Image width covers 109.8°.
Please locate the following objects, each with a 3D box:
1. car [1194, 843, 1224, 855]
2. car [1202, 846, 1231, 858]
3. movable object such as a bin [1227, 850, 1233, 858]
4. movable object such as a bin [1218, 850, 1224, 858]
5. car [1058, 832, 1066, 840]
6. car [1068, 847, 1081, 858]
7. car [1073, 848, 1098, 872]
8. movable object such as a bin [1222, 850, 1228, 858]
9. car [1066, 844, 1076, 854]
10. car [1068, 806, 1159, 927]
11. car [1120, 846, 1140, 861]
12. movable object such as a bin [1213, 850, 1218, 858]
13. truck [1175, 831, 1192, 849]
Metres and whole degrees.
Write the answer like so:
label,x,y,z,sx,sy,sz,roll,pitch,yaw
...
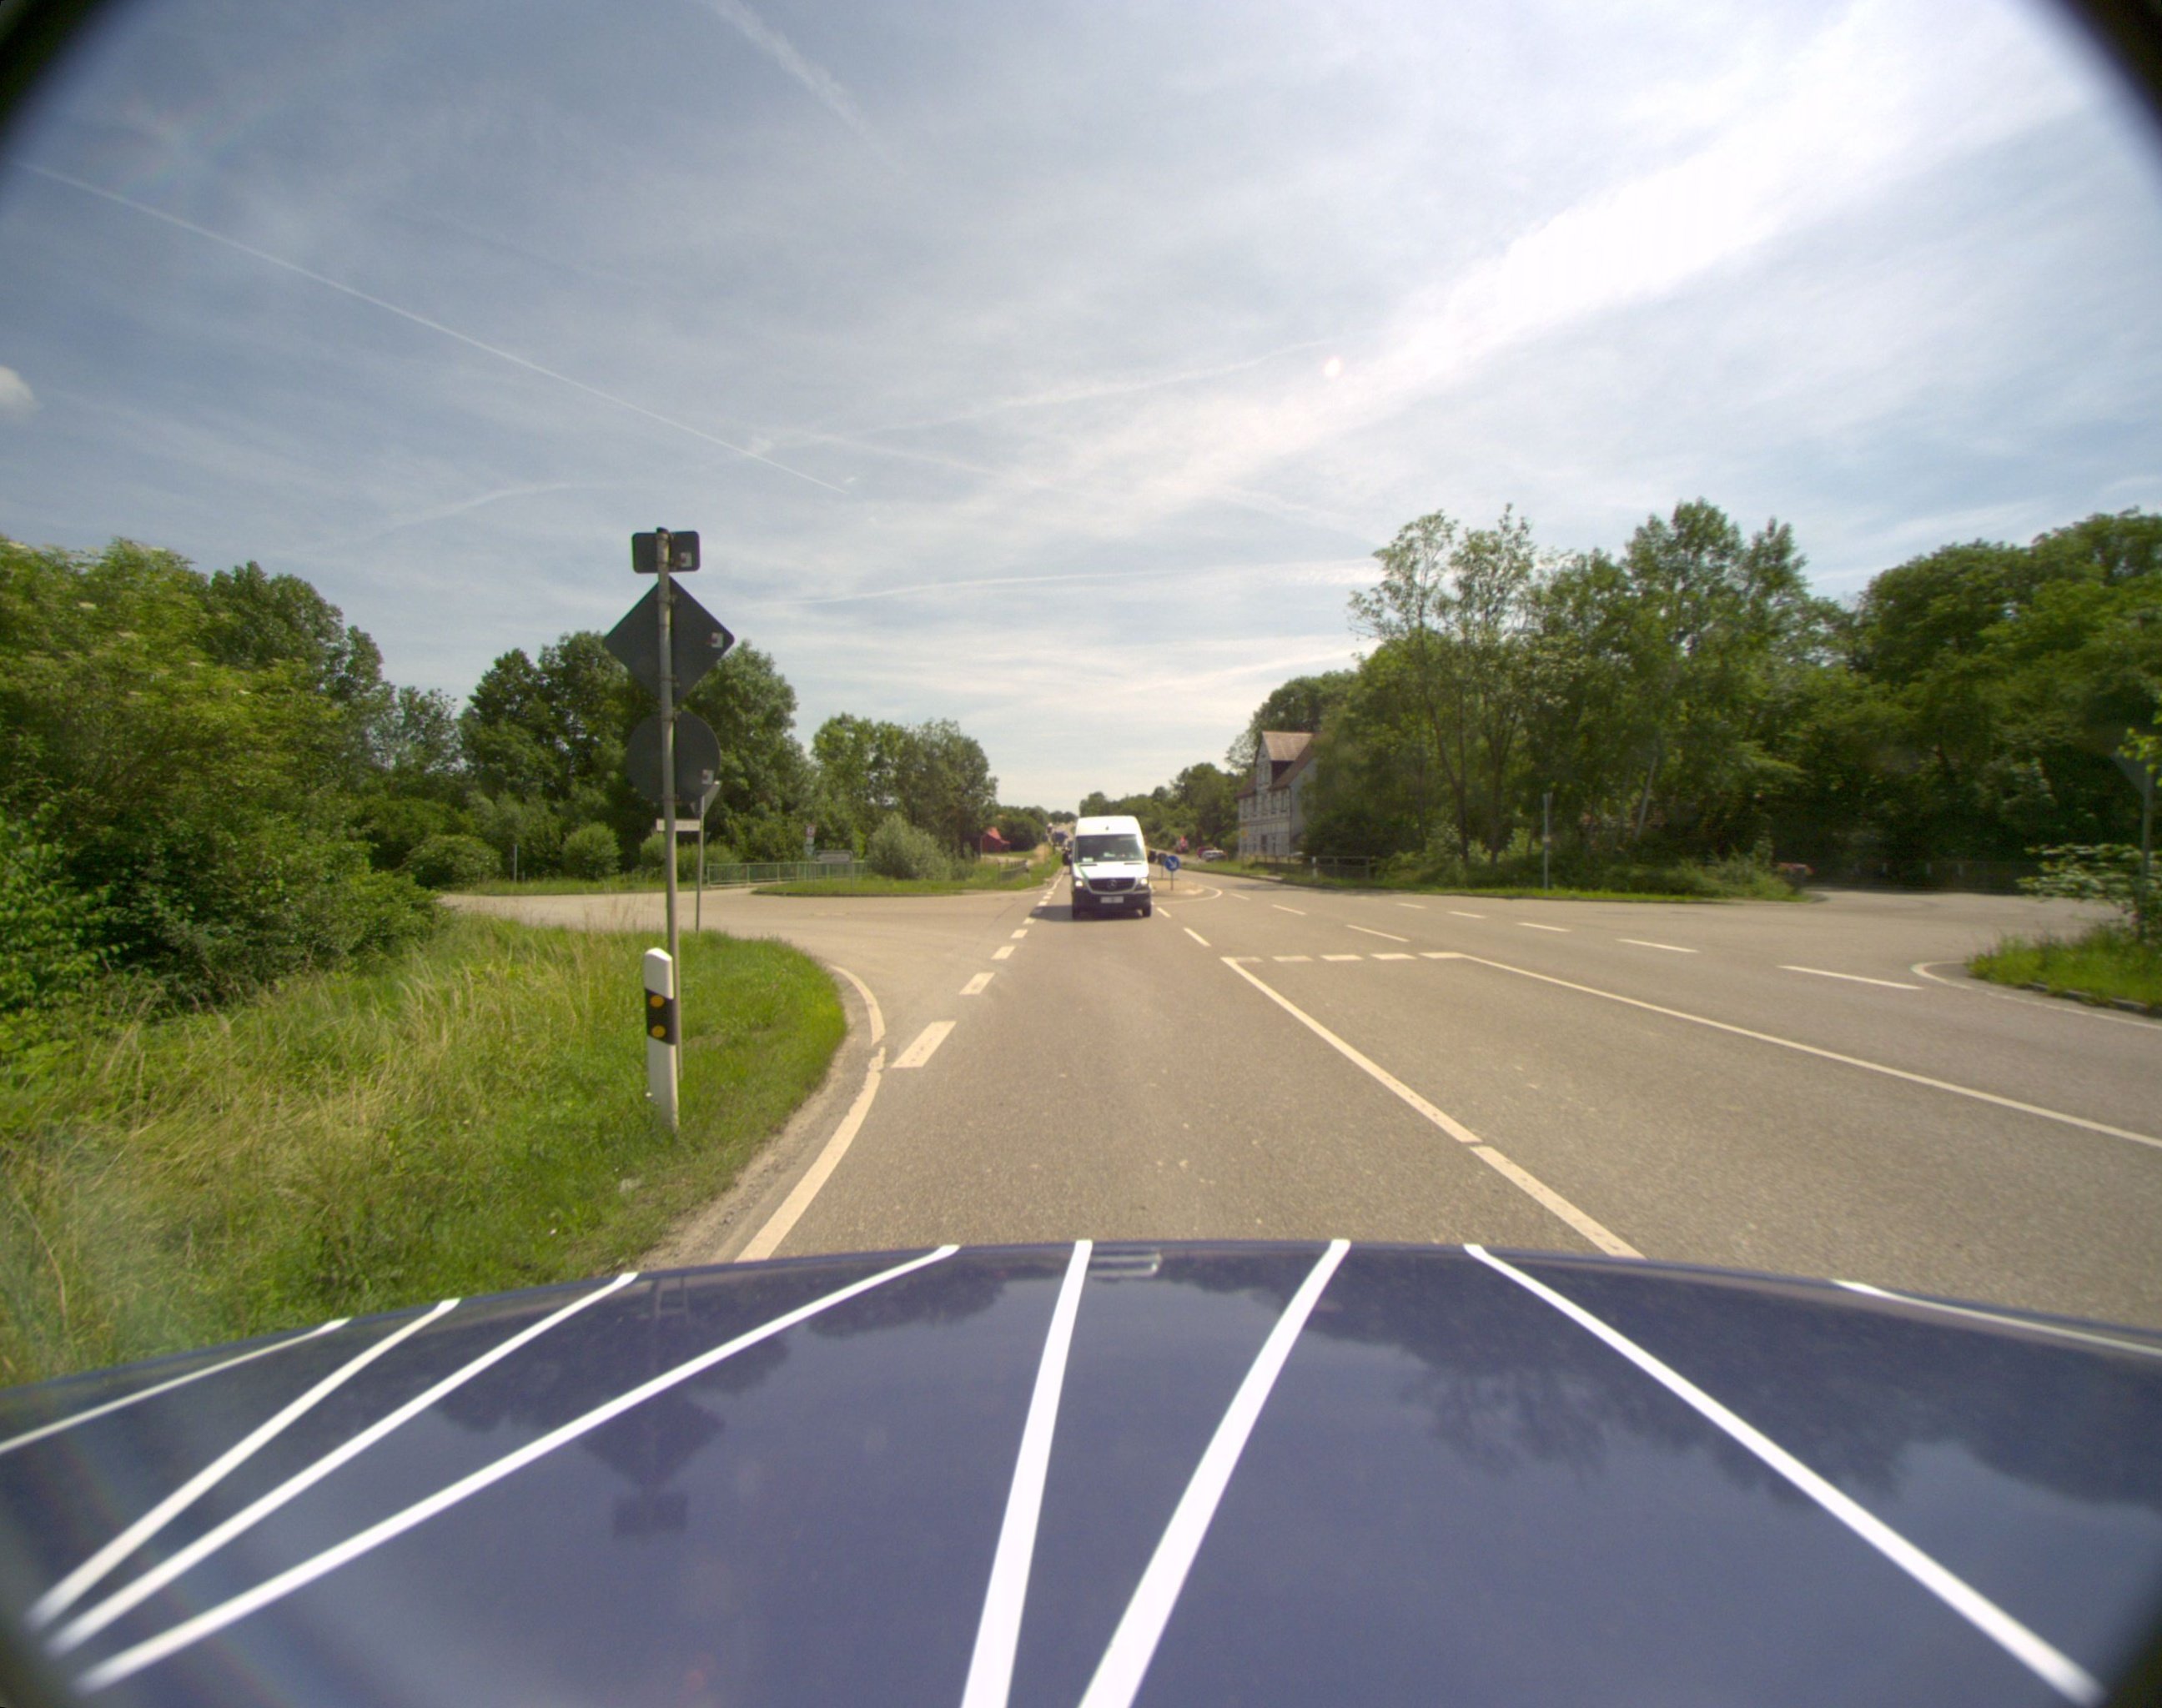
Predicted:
label,x,y,z,sx,sy,sz,roll,pitch,yaw
car,18.459,-0.729,109.925,4.037,1.609,1.832,-1,2,0
car,17.856,-0.277,99.899,3.387,1.457,1.609,-2,2,-7
movable object such as a bin,19.073,-0.048,97.384,0.505,0.971,0.654,-2,3,-8
movable object such as a bin,17.870,-0.001,97.081,0.505,0.964,0.654,-2,3,-8
car,-5.095,-4.817,205.406,1.998,2.166,3.999,-2,1,0
car,-1.096,-0.270,123.167,1.849,1.693,4.239,0,3,-3
car,0.305,0.437,57.623,1.848,1.692,4.242,0,0,-1
movable object such as a bin,18.409,-0.023,97.214,0.505,0.966,0.654,-2,3,-8
car,-1.833,-0.944,138.631,1.849,1.693,4.239,0,3,-3
car,0.691,0.244,19.594,1.961,2.656,5.679,-1,1,-1
car,5.539,-0.128,85.874,1.953,1.644,4.431,0,1,-1
movable object such as a bin,17.183,0.013,97.178,0.505,0.931,0.654,-2,3,-8
truck,17.583,-2.431,130.885,2.031,2.947,6.771,-2,2,0
